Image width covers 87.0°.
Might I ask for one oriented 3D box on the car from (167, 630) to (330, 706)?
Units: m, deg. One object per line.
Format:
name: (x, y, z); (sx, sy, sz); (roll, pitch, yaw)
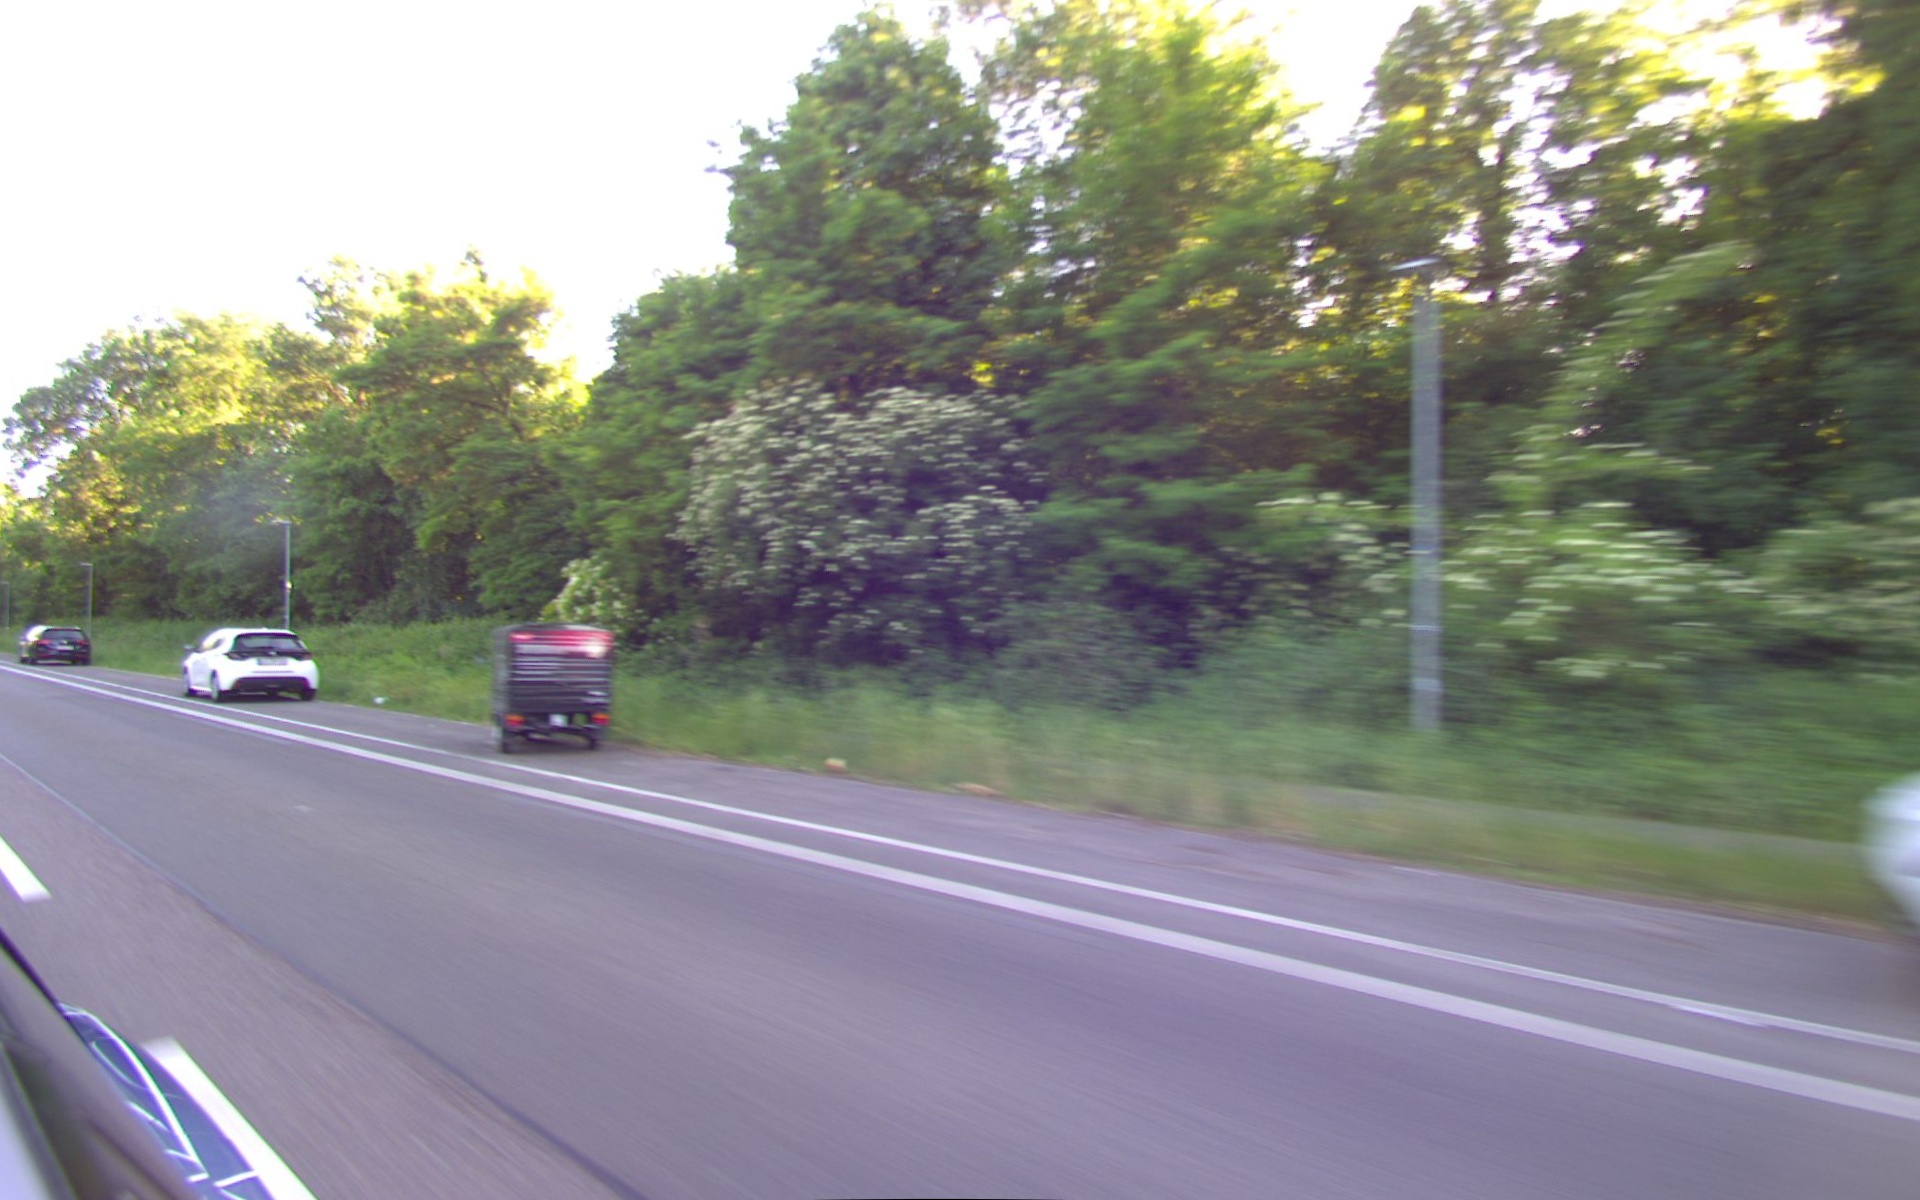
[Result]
car: (-15.132, 1.396, 21.450); (4.069, 1.462, 1.847); (-1, -4, 41)

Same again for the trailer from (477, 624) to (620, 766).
trailer: (-5.300, 1.105, 12.876); (1.376, 1.586, 2.683); (0, -2, -29)

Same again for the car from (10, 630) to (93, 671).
car: (-35.112, 1.907, 39.071); (4.781, 1.475, 1.835); (-1, -2, 41)

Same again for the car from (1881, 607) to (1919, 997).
car: (5.749, 0.812, 3.082); (4.202, 1.583, 1.796); (-2, -4, 39)
